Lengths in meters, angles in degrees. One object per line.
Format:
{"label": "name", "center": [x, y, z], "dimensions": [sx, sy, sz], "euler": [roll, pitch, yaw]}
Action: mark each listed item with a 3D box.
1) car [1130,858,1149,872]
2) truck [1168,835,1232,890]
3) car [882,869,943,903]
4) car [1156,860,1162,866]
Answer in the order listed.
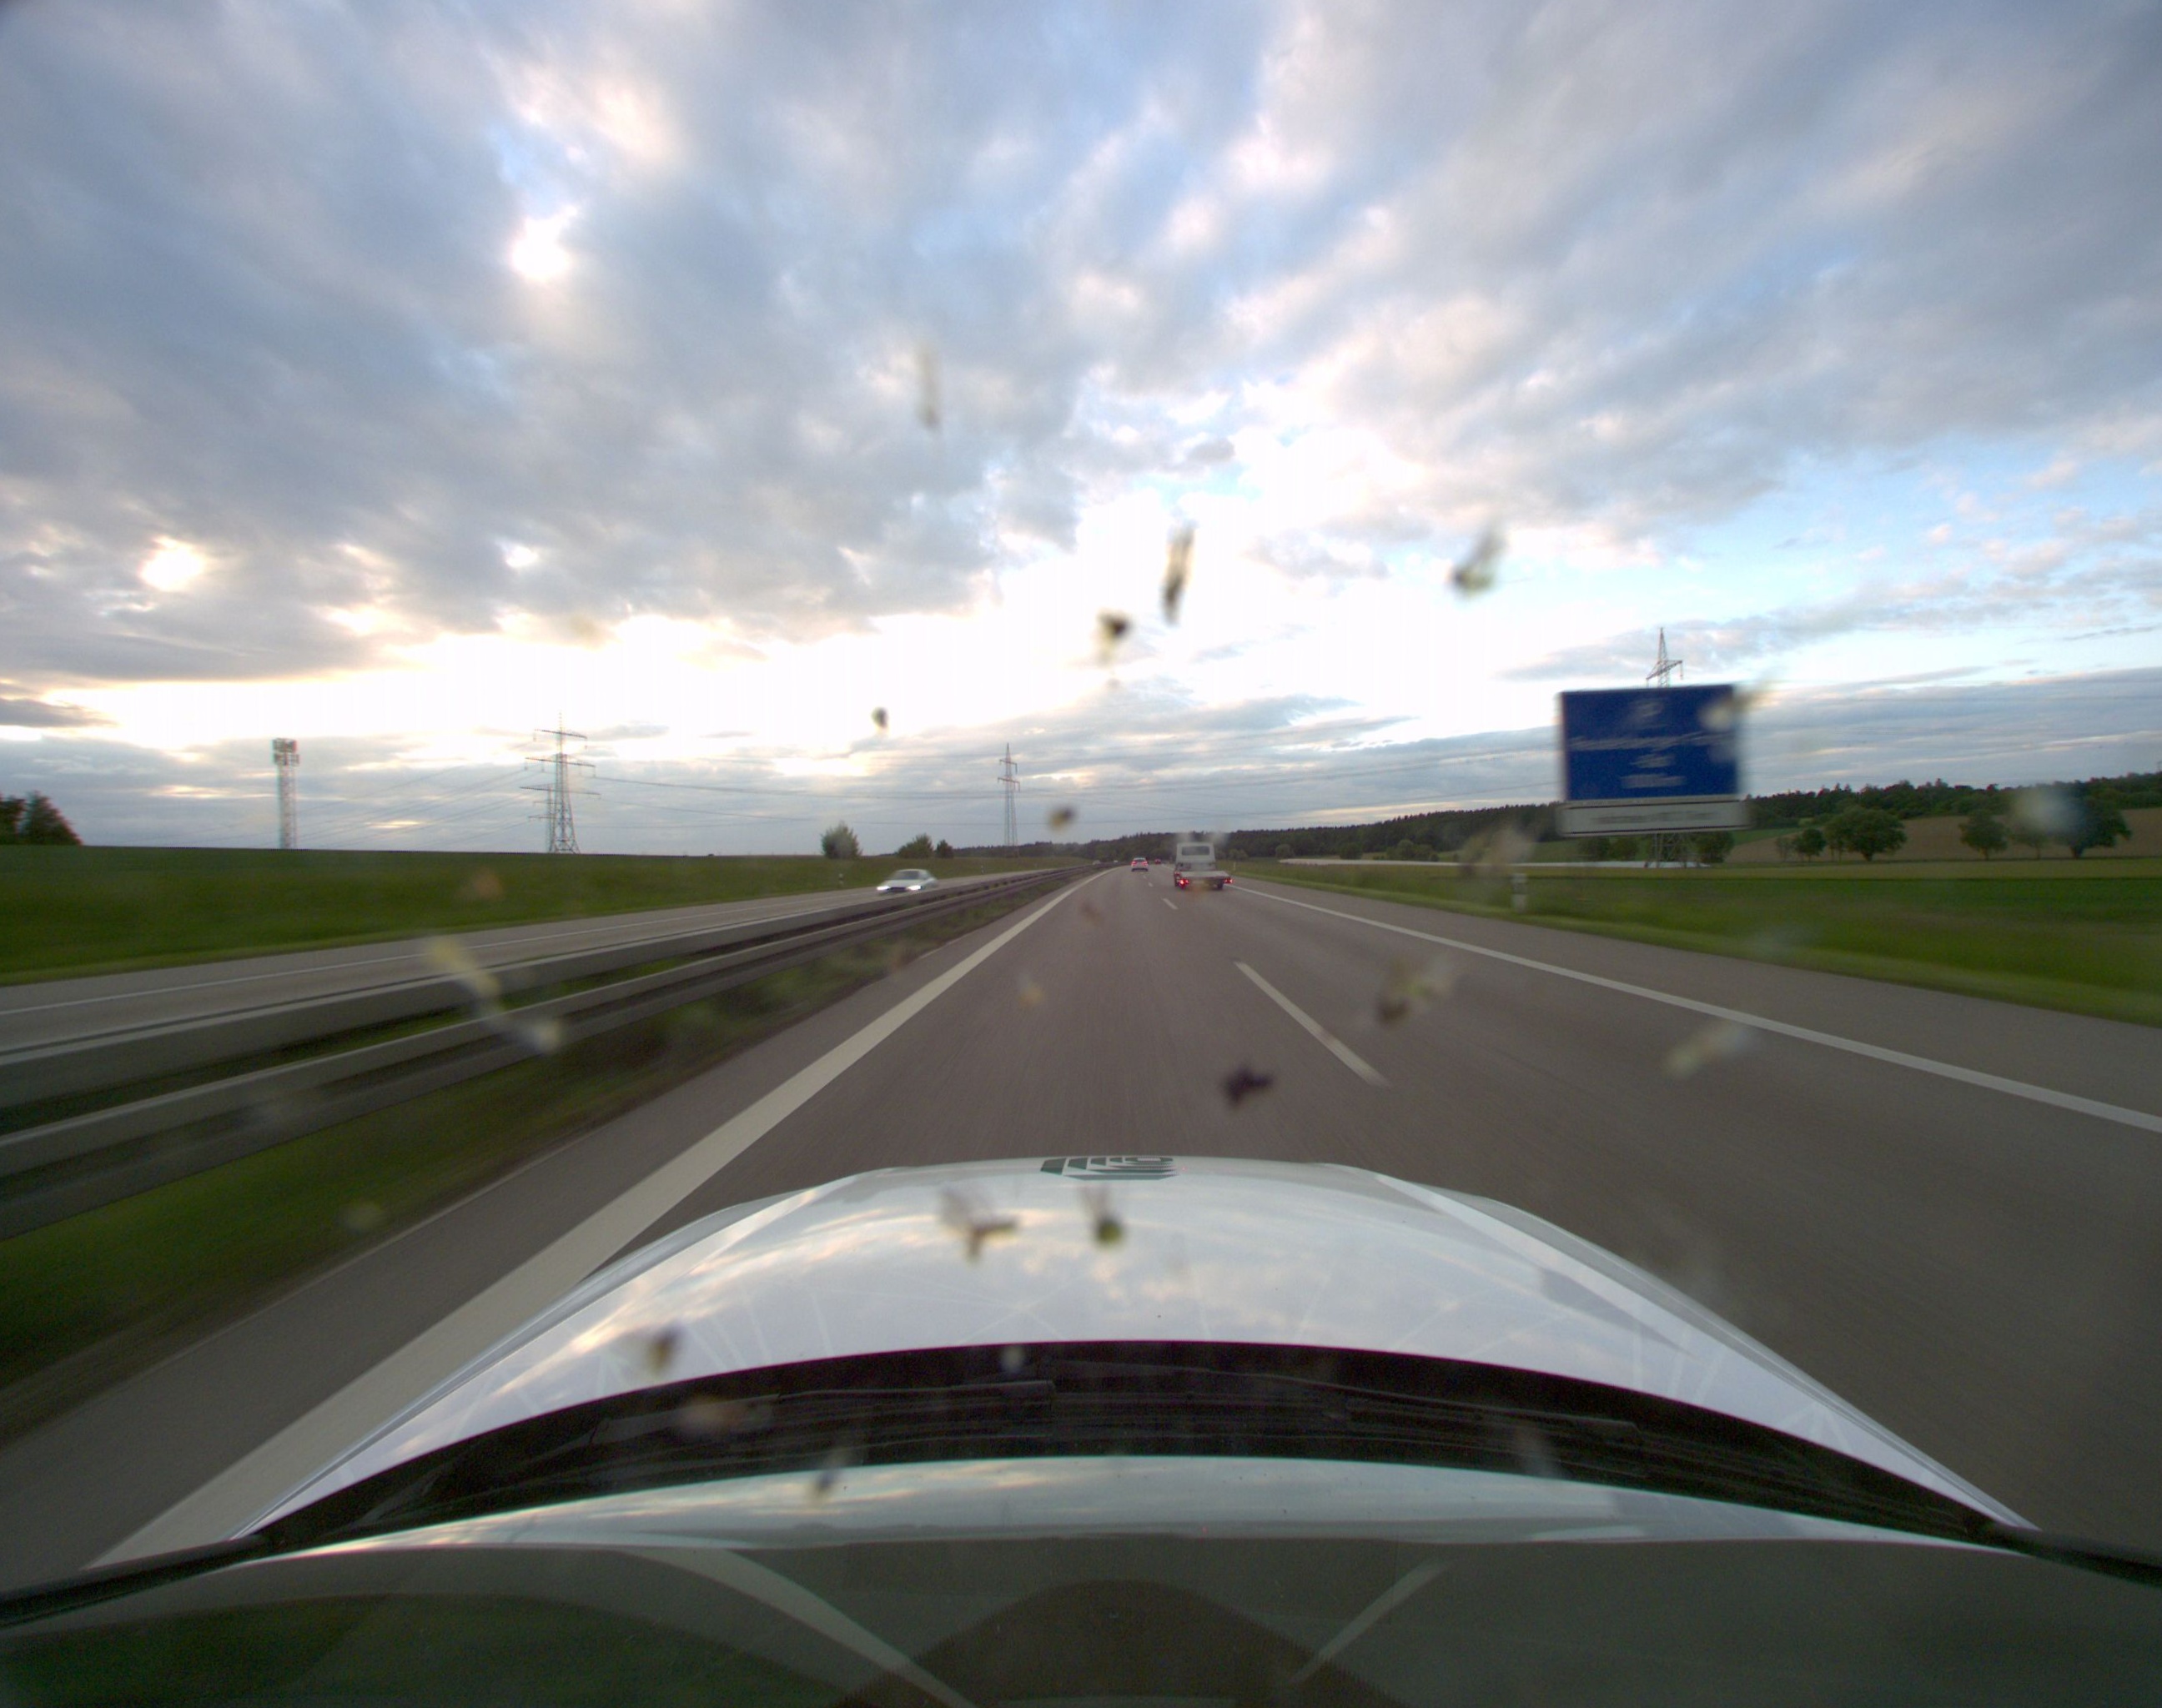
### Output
{"label": "car", "center": [6.490, 1.167, 89.989], "dimensions": [1.942, 1.531, 4.086], "euler": [0, -1, 5]}
{"label": "truck", "center": [5.550, 0.394, 38.915], "dimensions": [2.163, 2.360, 7.699], "euler": [0, 0, 2]}
{"label": "car", "center": [-7.965, 1.475, 38.845], "dimensions": [1.722, 1.486, 4.933], "euler": [0, 0, 2]}
{"label": "car", "center": [23.666, 2.641, 247.326], "dimensions": [1.942, 1.731, 4.086], "euler": [0, -1, 5]}
